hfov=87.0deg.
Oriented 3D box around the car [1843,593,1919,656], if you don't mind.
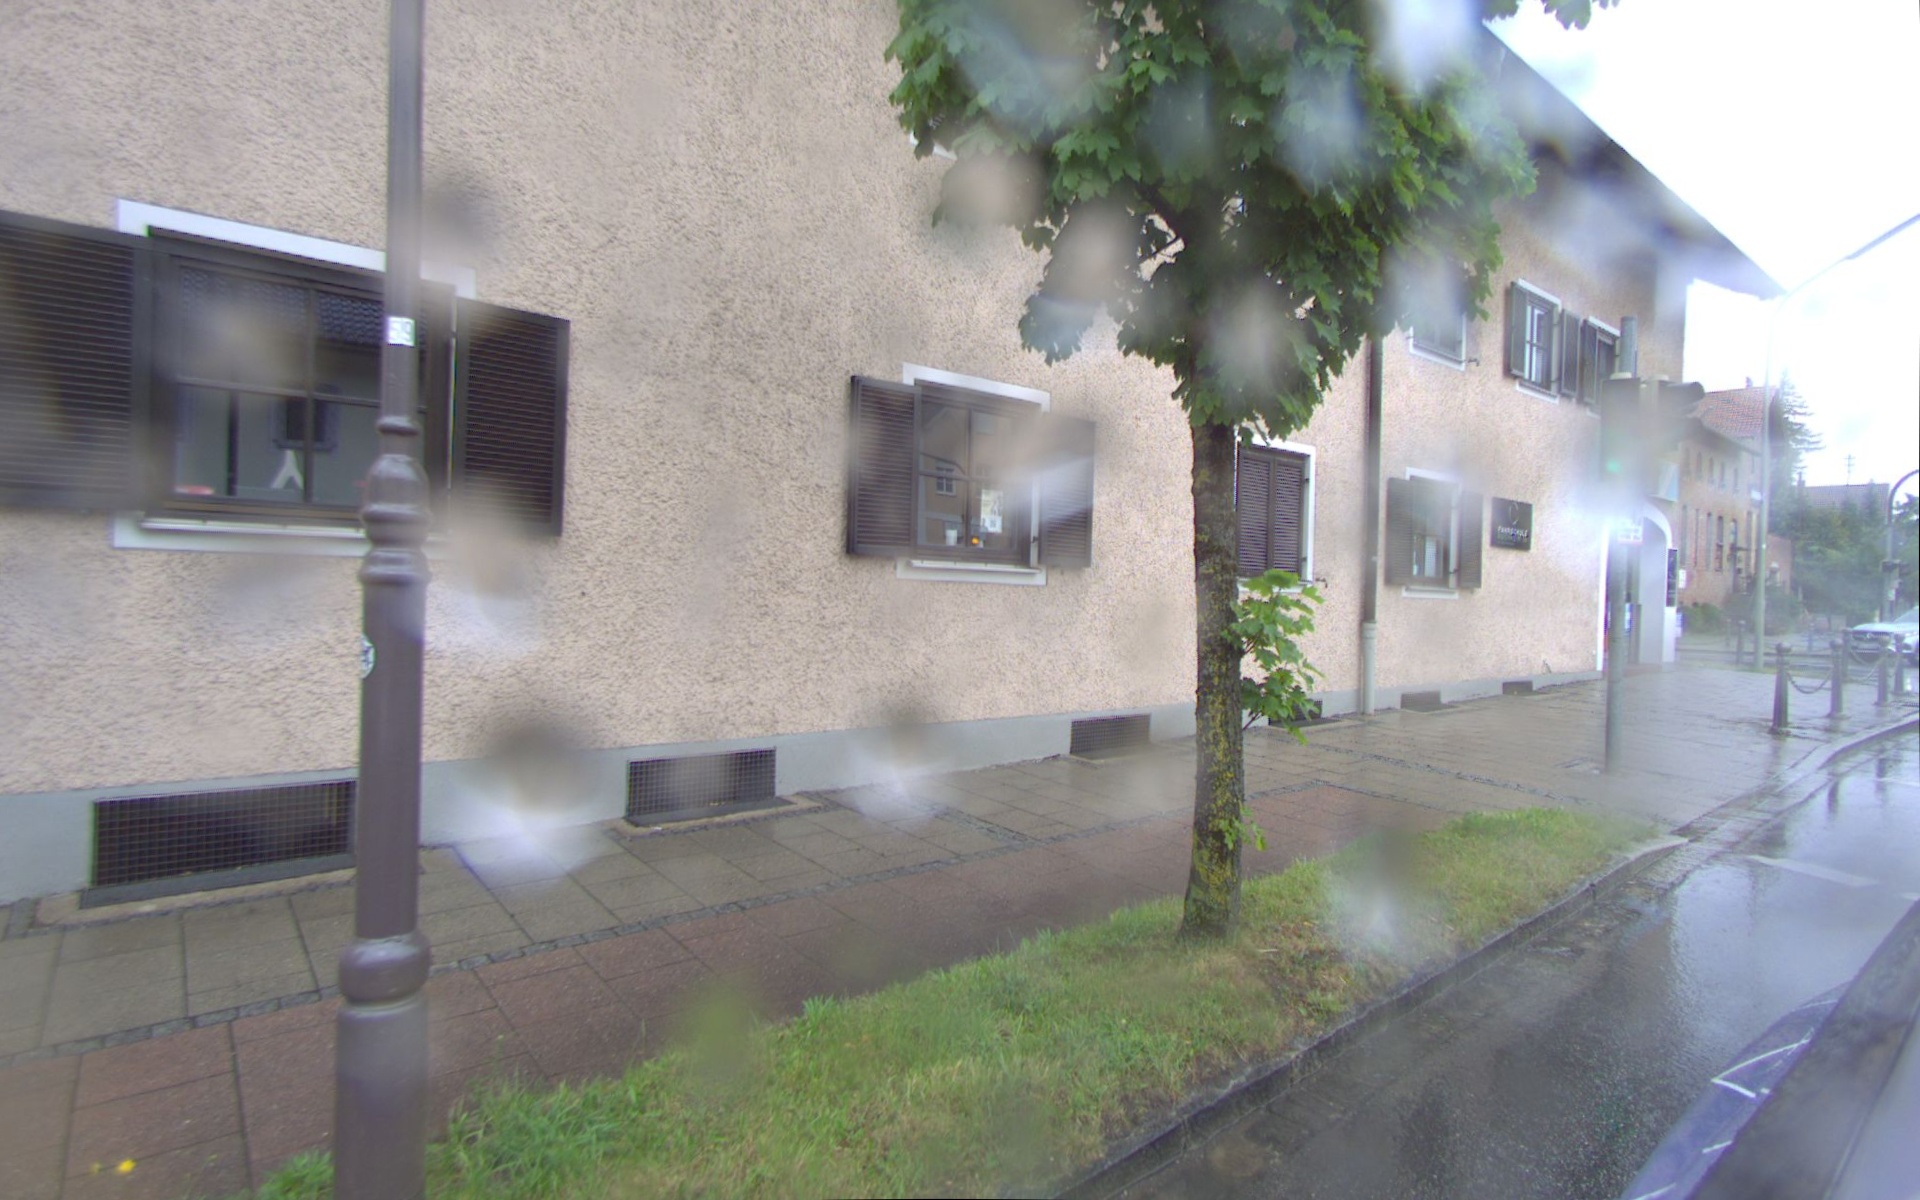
[{"bbox_3d":[25.668,0.655,26.087,4.517,1.517,1.739,1,1,-6],"label":"car"}]
